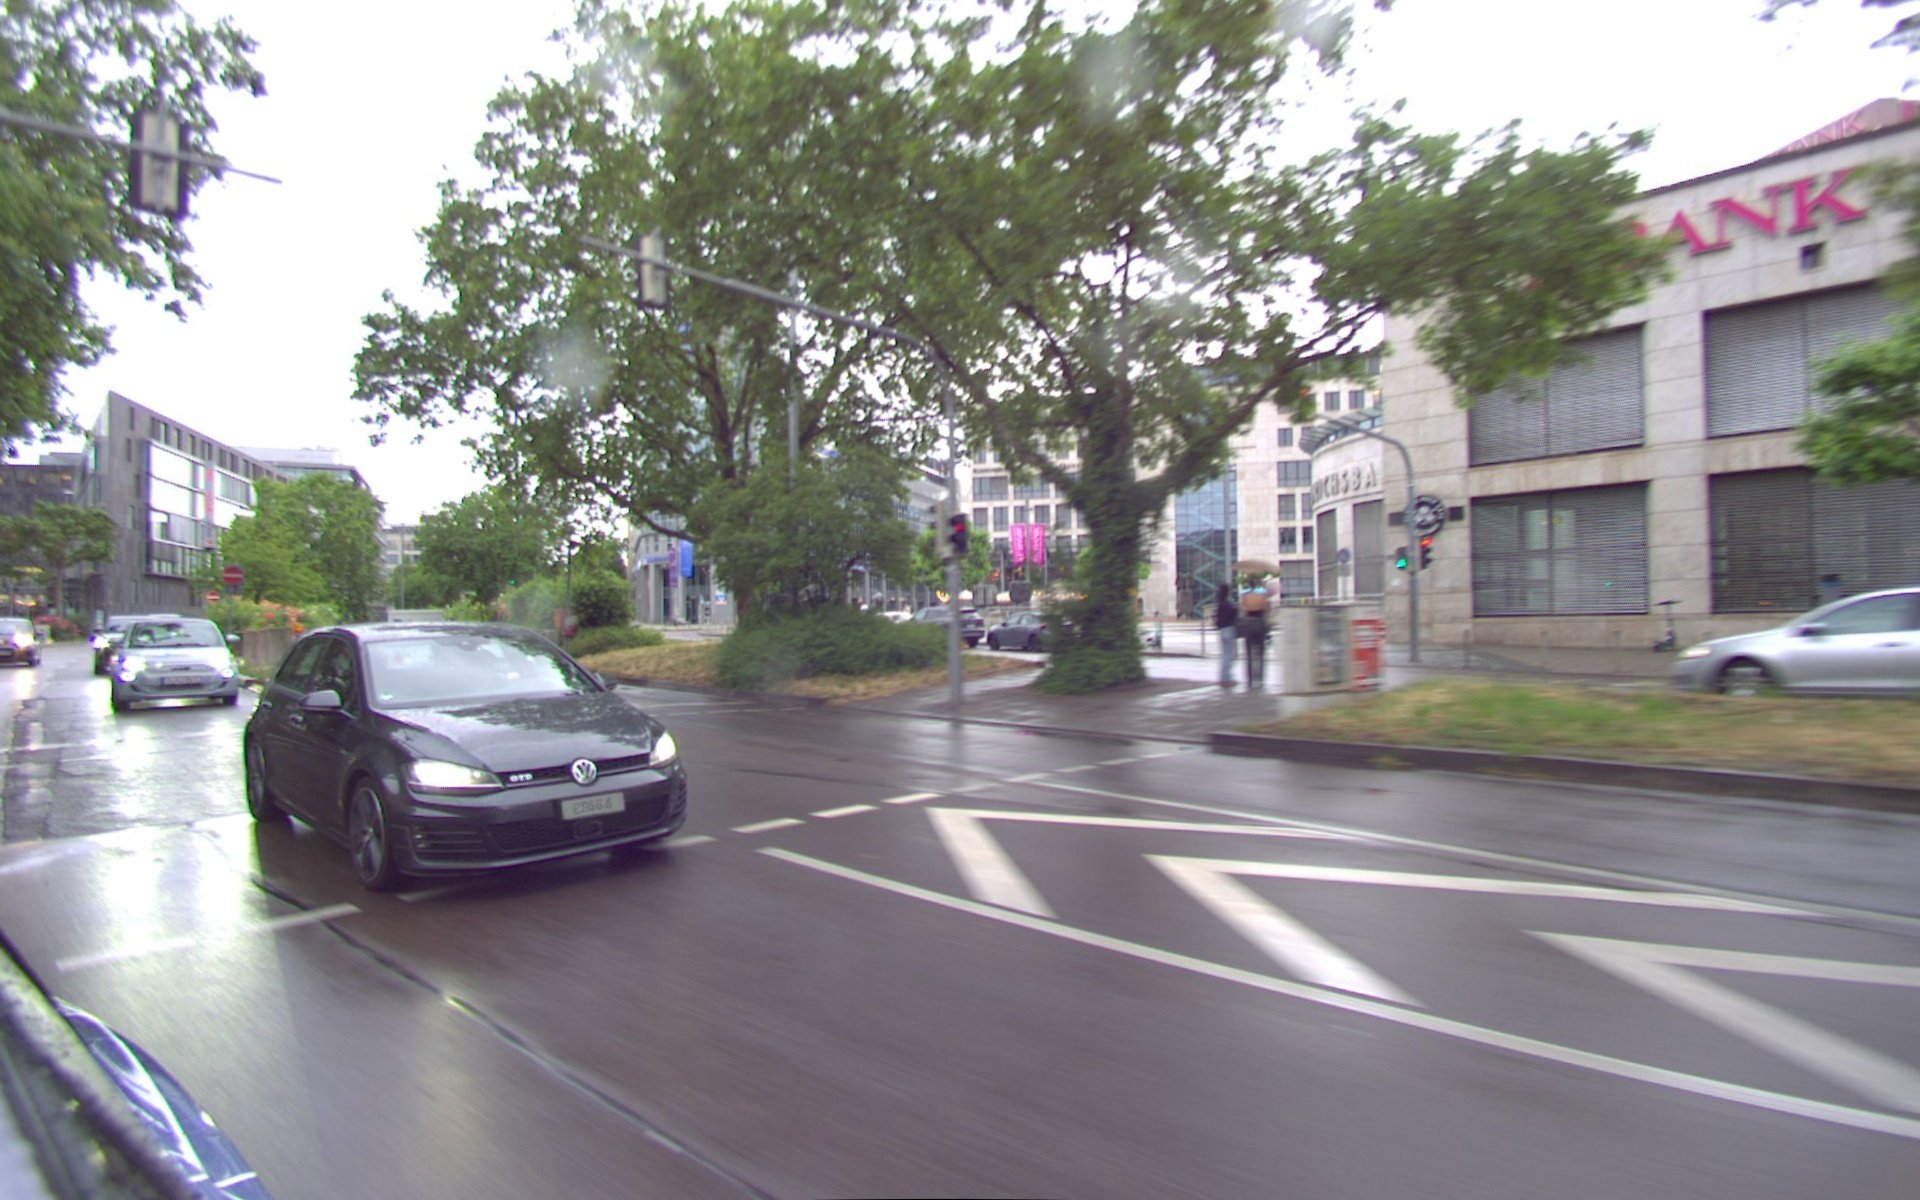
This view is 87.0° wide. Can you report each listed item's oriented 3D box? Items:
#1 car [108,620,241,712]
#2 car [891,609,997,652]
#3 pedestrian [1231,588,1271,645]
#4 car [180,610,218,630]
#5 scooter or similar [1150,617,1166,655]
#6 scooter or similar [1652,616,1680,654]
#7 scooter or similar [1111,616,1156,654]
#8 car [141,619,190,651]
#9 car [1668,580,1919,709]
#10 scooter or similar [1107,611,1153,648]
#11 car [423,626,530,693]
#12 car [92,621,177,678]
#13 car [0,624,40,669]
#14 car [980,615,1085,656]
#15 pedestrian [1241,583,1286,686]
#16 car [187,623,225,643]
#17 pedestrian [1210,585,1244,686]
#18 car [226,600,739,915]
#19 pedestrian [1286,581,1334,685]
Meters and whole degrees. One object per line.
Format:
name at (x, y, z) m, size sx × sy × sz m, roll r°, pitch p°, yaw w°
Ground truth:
car at (-13.867, 1.096, 17.807) m, size 1.588 × 1.452 × 3.498 m, roll 2°, pitch -2°, yaw -42°
car at (-0.711, 1.195, 41.607) m, size 1.967 × 1.664 × 4.737 m, roll 0°, pitch -1°, yaw -37°
pedestrian at (10.040, 0.559, 34.907) m, size 0.581 × 1.939 × 1.126 m, roll -2°, pitch 0°, yaw -44°
car at (-67.678, 1.767, 90.023) m, size 1.965 × 1.757 × 3.922 m, roll 0°, pitch -1°, yaw -26°
scooter or similar at (6.438, 1.161, 32.906) m, size 0.438 × 1.134 × 1.607 m, roll -2°, pitch 0°, yaw 11°
scooter or similar at (18.193, 0.888, 26.066) m, size 0.348 × 0.926 × 1.401 m, roll -2°, pitch -1°, yaw 44°
scooter or similar at (5.844, 1.176, 34.006) m, size 1.406 × 1.195 × 0.583 m, roll -2°, pitch 0°, yaw -30°
car at (-46.895, 2.037, 59.705) m, size 1.969 × 1.757 × 3.914 m, roll 0°, pitch -1°, yaw -42°
car at (10.757, 0.476, 11.514) m, size 1.725 × 1.375 × 4.137 m, roll 0°, pitch -1°, yaw -40°
scooter or similar at (5.863, 0.996, 34.906) m, size 1.405 × 1.195 × 0.583 m, roll -2°, pitch 0°, yaw -21°
car at (-13.231, 1.546, 27.581) m, size 1.754 × 1.608 × 4.007 m, roll 0°, pitch 0°, yaw -39°
car at (-22.723, 1.322, 27.919) m, size 1.690 × 1.452 × 3.501 m, roll 2°, pitch -2°, yaw -39°
car at (-29.032, 1.387, 30.591) m, size 1.691 × 1.291 × 3.499 m, roll 1°, pitch -1°, yaw -41°
car at (2.644, 1.279, 37.742) m, size 1.817 × 1.392 × 4.052 m, roll 0°, pitch -1°, yaw -34°
pedestrian at (4.887, 0.550, 16.319) m, size 0.636 × 1.626 × 0.446 m, roll -2°, pitch -1°, yaw 16°
car at (-71.739, 3.097, 96.316) m, size 1.965 × 1.757 × 3.922 m, roll -1°, pitch -1°, yaw -22°
pedestrian at (4.411, 0.575, 16.711) m, size 0.420 × 1.626 × 0.554 m, roll -1°, pitch -1°, yaw 6°
car at (-3.419, 0.774, 6.824) m, size 4.124 × 1.463 × 1.765 m, roll -1°, pitch -1°, yaw 44°
pedestrian at (5.616, 0.526, 16.265) m, size 0.636 × 1.626 × 0.607 m, roll -2°, pitch -1°, yaw 16°
